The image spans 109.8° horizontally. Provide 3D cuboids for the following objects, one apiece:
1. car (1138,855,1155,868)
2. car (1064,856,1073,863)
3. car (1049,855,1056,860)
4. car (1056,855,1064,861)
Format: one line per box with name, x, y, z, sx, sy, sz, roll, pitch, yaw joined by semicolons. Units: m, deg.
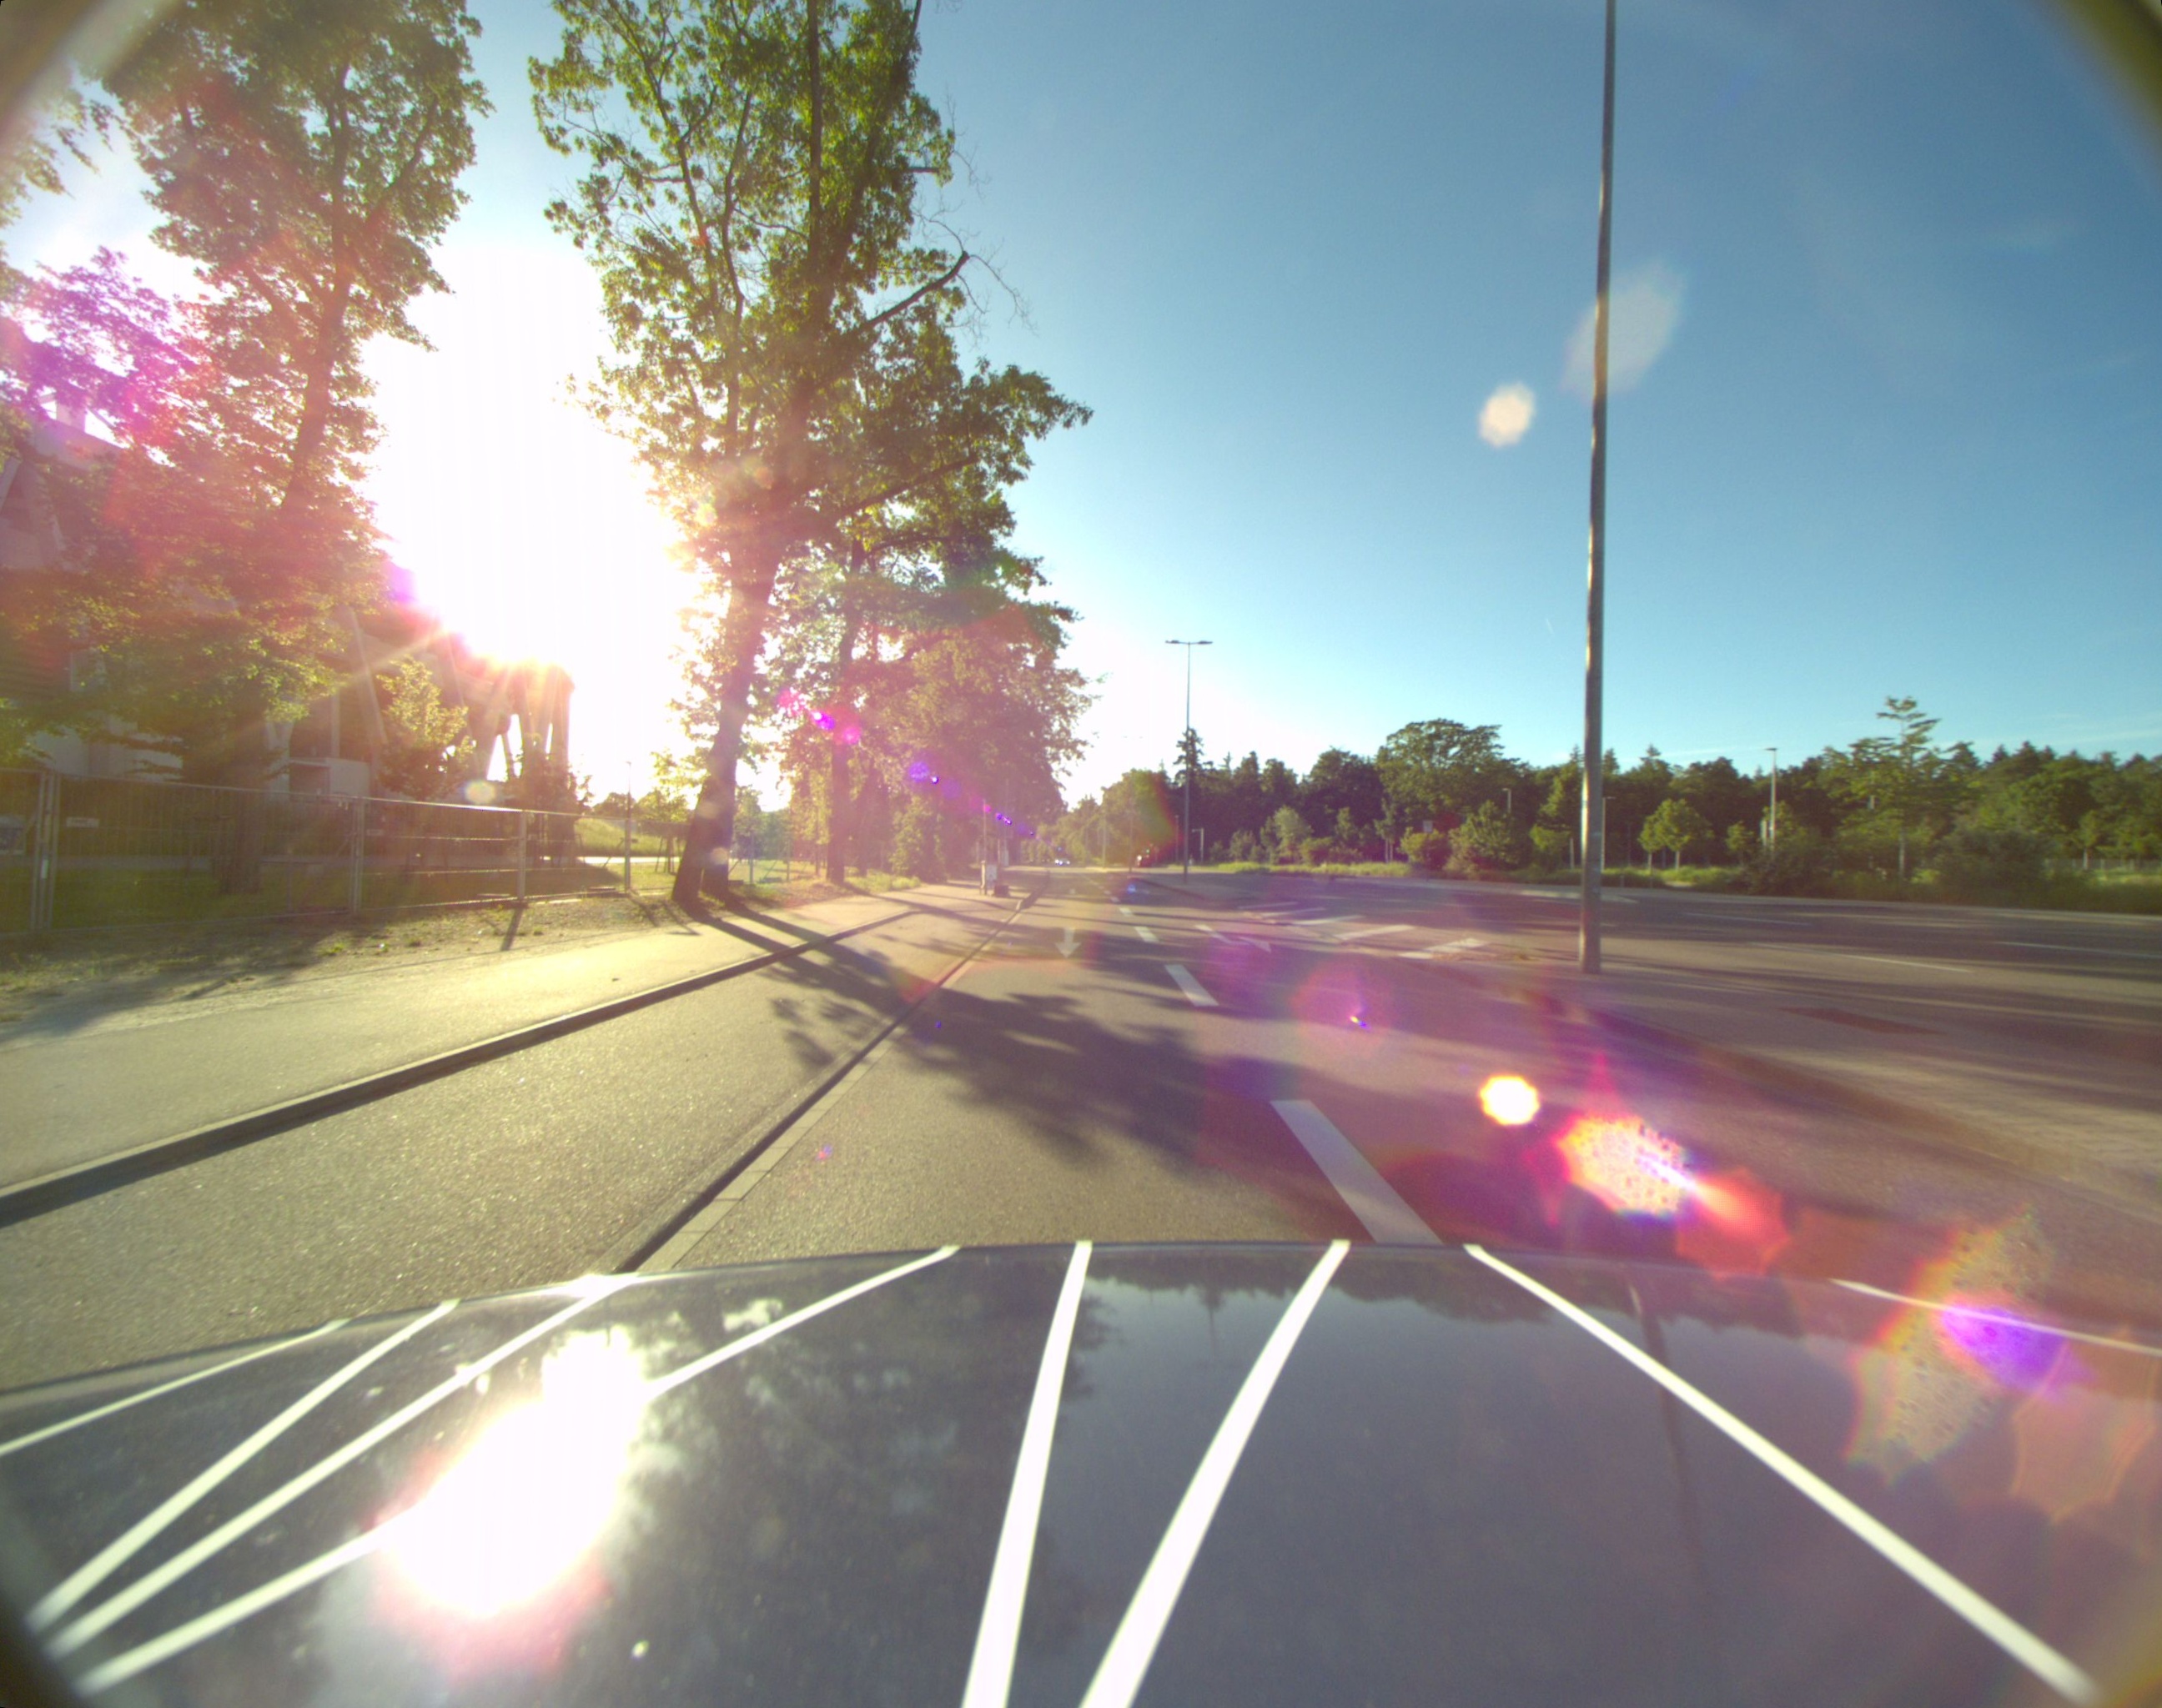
car;9.297;1.041;108.272;1.788;1.682;4.701;-1;0;-2
car;-2.566;1.159;153.561;1.841;1.395;3.999;-1;0;-2
car;-8.556;0.971;224.468;1.842;1.395;4.989;1;0;-4
car;-5.117;0.967;184.077;1.842;1.395;4.990;-1;0;-4
